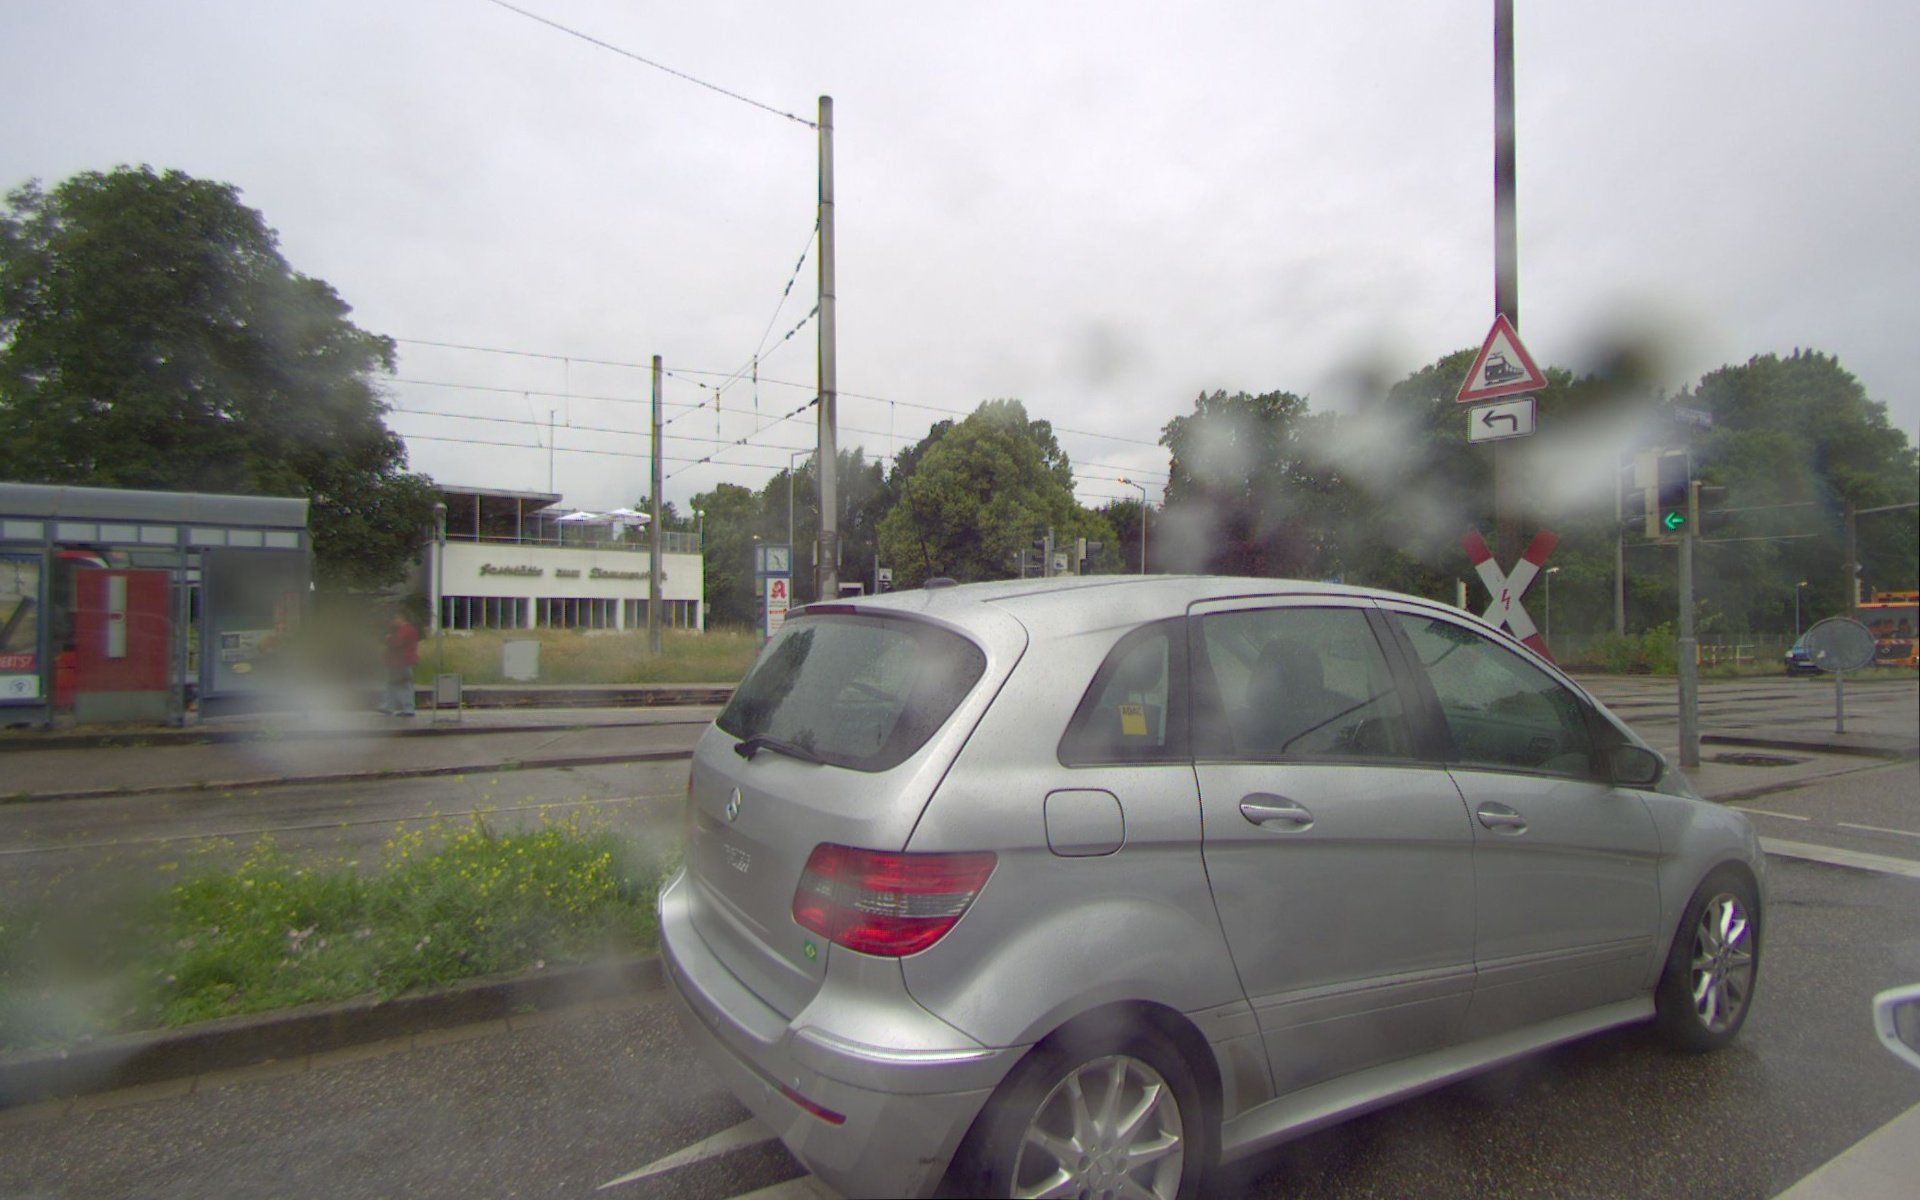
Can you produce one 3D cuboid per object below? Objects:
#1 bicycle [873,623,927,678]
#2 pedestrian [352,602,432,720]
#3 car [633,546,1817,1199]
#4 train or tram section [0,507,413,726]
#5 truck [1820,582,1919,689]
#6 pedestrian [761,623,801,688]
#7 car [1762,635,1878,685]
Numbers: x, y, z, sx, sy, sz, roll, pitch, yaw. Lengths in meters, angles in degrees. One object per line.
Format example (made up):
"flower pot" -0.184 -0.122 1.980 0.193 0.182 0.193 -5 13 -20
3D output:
"bicycle" -2.015 1.686 33.871 1.714 1.784 0.637 1 -1 -30
"pedestrian" -8.601 0.898 15.237 0.985 1.698 0.920 1 0 -30
"car" 1.084 0.744 3.510 3.967 1.564 1.728 1 -2 -31
"train or tram section" -14.983 0.318 17.856 9.168 3.434 3.517 1 -2 -30
"truck" 41.438 1.519 43.421 10.287 4.223 3.368 2 0 -31
"pedestrian" -4.773 1.465 26.739 0.795 1.679 0.777 1 0 -30
"car" 32.853 2.256 38.369 4.473 1.732 1.984 2 0 -30
